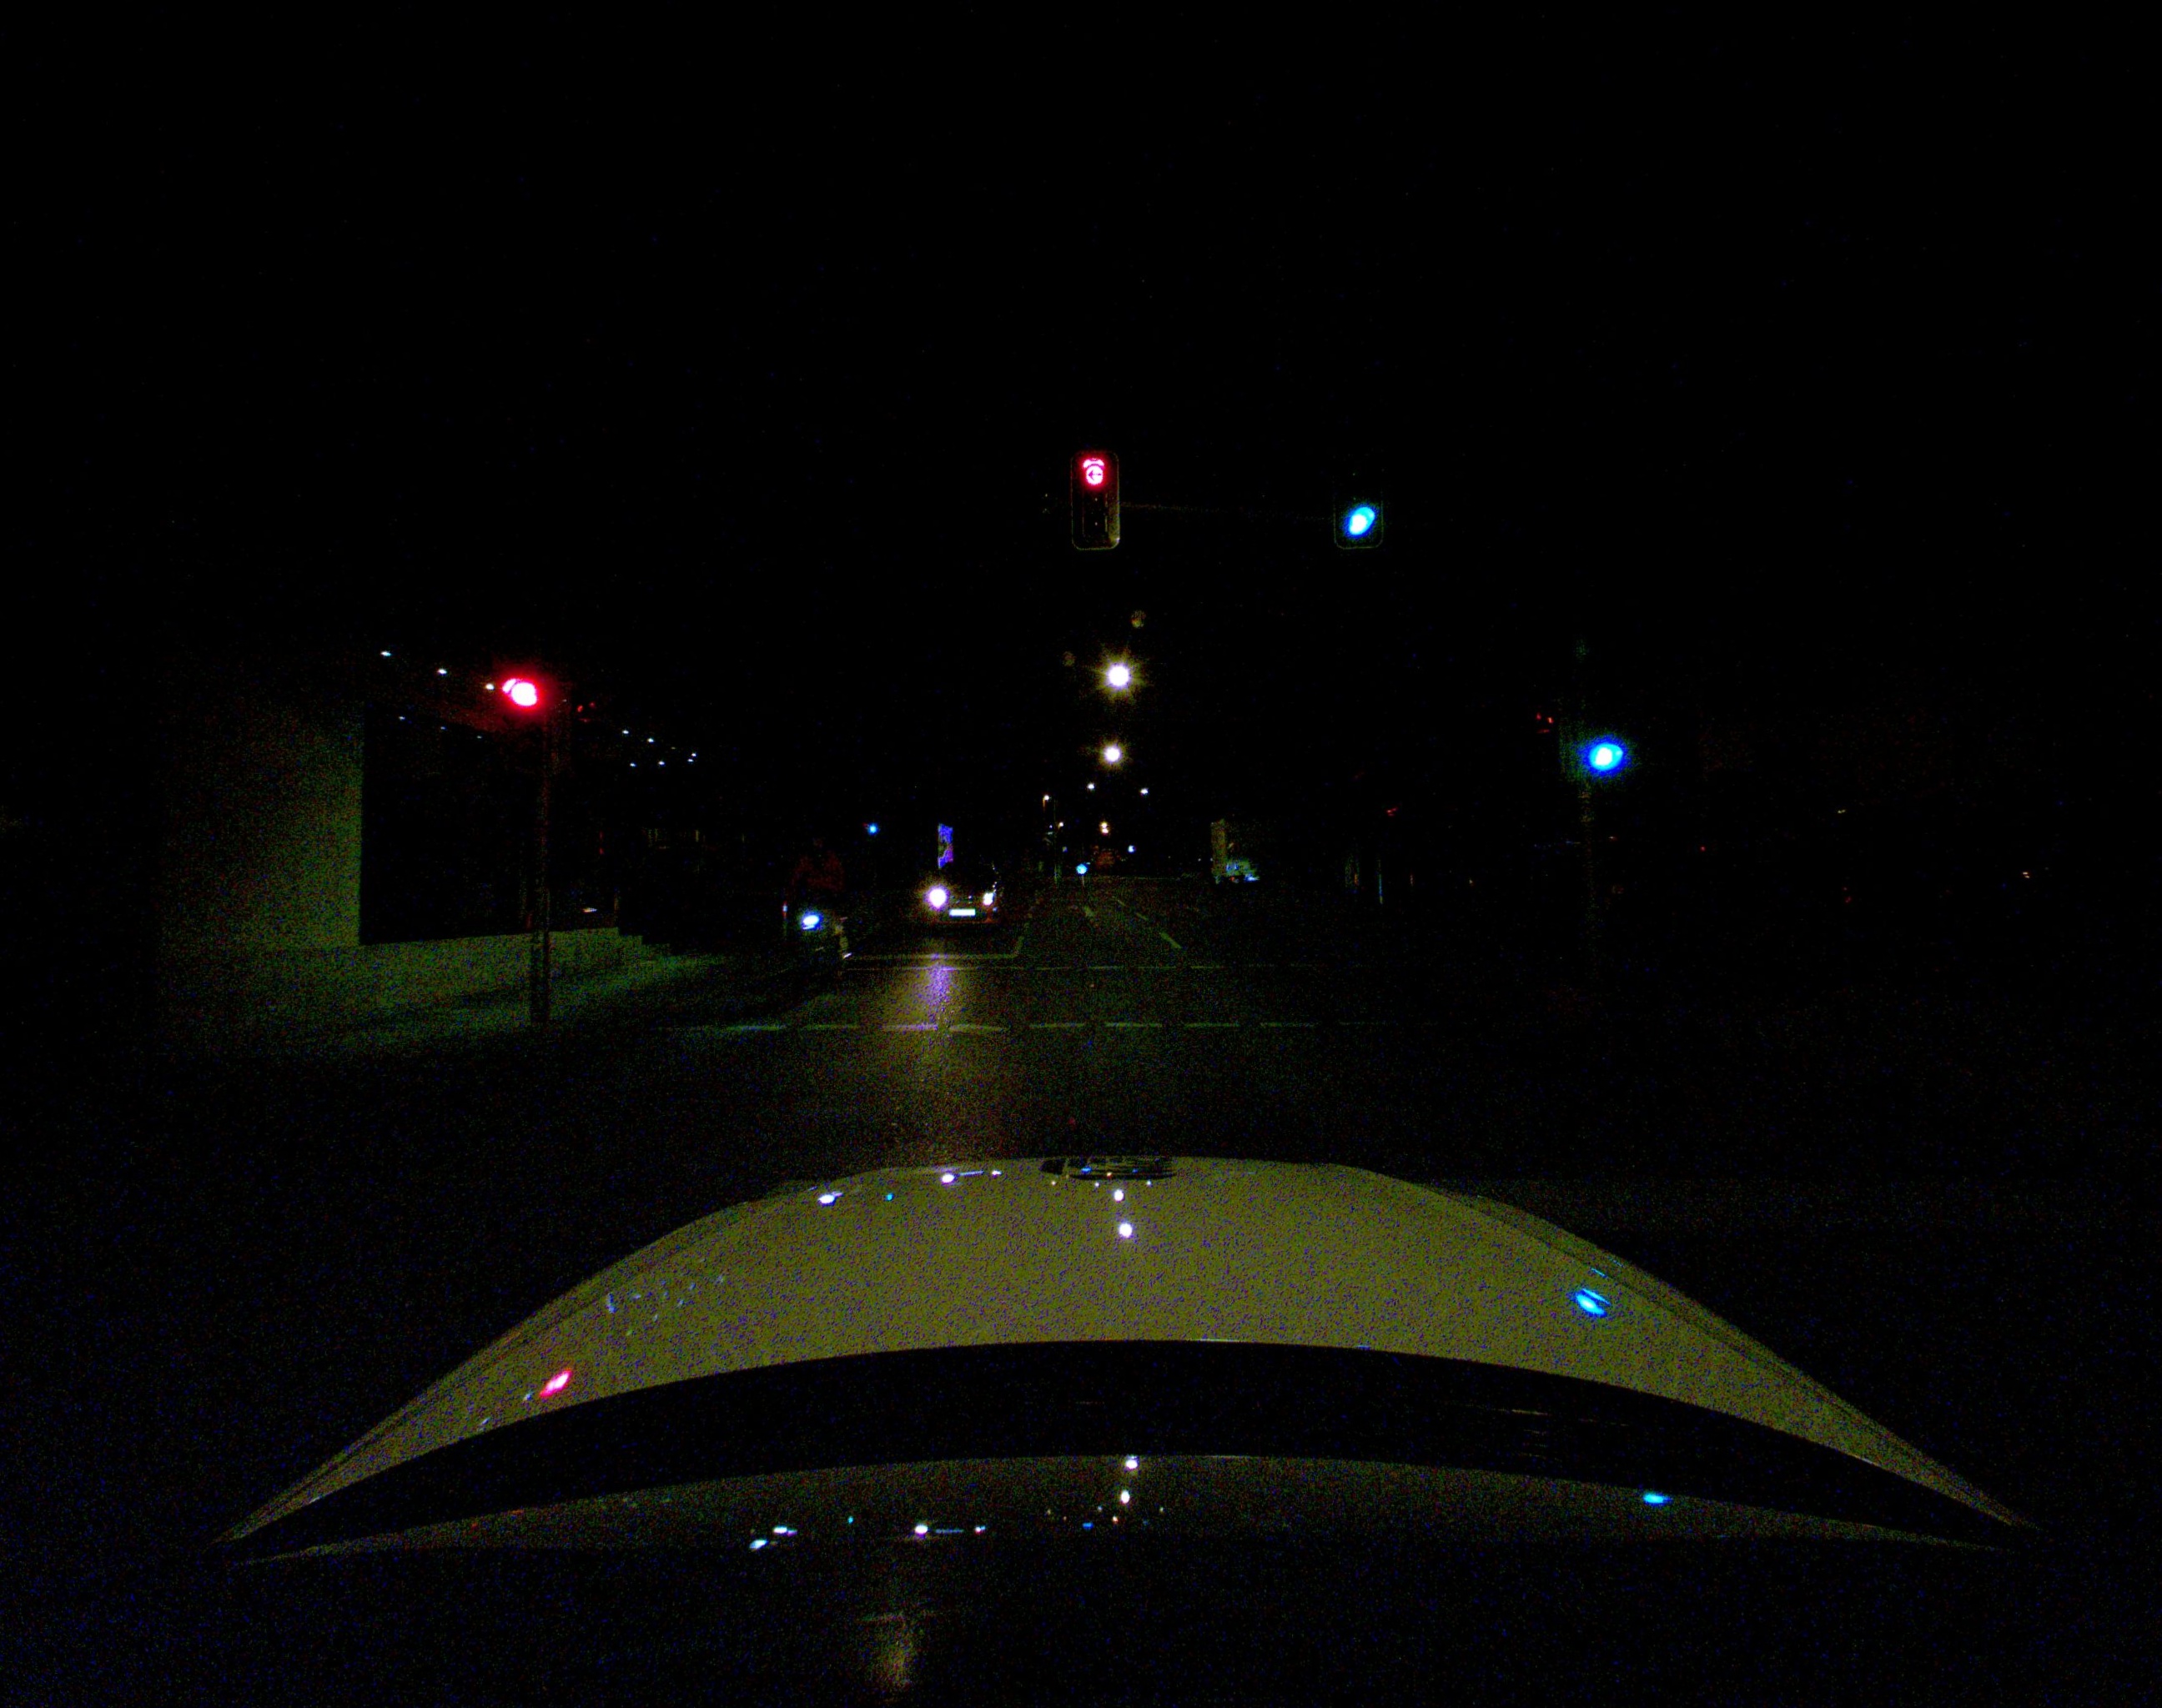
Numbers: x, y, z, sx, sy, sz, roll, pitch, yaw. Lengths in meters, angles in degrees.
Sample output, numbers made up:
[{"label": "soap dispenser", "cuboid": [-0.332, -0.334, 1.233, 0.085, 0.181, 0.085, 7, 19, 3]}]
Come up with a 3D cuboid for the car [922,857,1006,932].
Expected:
[{"label": "car", "cuboid": [-2.547, 0.844, 18.395, 1.578, 1.501, 3.392, -1, 0, -3]}]

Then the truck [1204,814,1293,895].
[{"label": "truck", "cuboid": [6.954, 0.038, 34.604, 2.738, 3.110, 6.262, 0, 0, 2]}]

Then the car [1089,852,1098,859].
[{"label": "car", "cuboid": [2.427, 0.304, 160.751, 1.809, 1.491, 4.000, 0, 0, 0]}]

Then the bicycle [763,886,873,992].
[{"label": "bicycle", "cuboid": [-3.241, 1.004, 10.246, 0.693, 1.149, 1.951, -1, -1, 2]}]

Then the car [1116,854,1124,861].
[{"label": "car", "cuboid": [7.601, 0.701, 159.327, 1.628, 1.452, 3.486, 0, 0, 2]}]

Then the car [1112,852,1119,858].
[{"label": "car", "cuboid": [8.178, 0.178, 191.554, 1.628, 1.452, 3.486, 0, 0, 2]}]

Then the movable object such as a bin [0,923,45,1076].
[{"label": "movable object such as a bin", "cuboid": [-7.929, 1.034, 5.701, 0.633, 1.049, 0.657, -1, -1, 19]}]

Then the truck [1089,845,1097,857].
[{"label": "truck", "cuboid": [3.133, -0.727, 209.806, 2.079, 2.848, 5.831, 0, 0, 0]}]

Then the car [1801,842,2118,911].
[{"label": "car", "cuboid": [17.319, 0.452, 16.270, 4.107, 1.280, 1.770, -1, -1, 9]}]

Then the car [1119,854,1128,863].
[{"label": "car", "cuboid": [7.480, 0.816, 143.397, 1.628, 1.452, 3.486, 0, 0, 2]}]

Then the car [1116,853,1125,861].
[{"label": "car", "cuboid": [7.465, 0.639, 153.142, 1.628, 1.452, 3.486, 0, 0, 2]}]

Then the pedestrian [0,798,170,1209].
[{"label": "pedestrian", "cuboid": [-4.924, 0.638, 3.574, 0.673, 1.745, 1.029, -1, -1, 0]}]

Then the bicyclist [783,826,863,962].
[{"label": "bicyclist", "cuboid": [-3.243, 0.491, 10.295, 0.688, 1.637, 0.896, -1, -1, 1]}]

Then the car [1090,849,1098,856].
[{"label": "car", "cuboid": [2.992, -0.338, 187.154, 1.809, 1.491, 4.000, 0, 0, 0]}]

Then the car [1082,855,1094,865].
[{"label": "car", "cuboid": [1.190, 1.000, 134.626, 1.808, 1.684, 4.002, 0, 0, 2]}]
